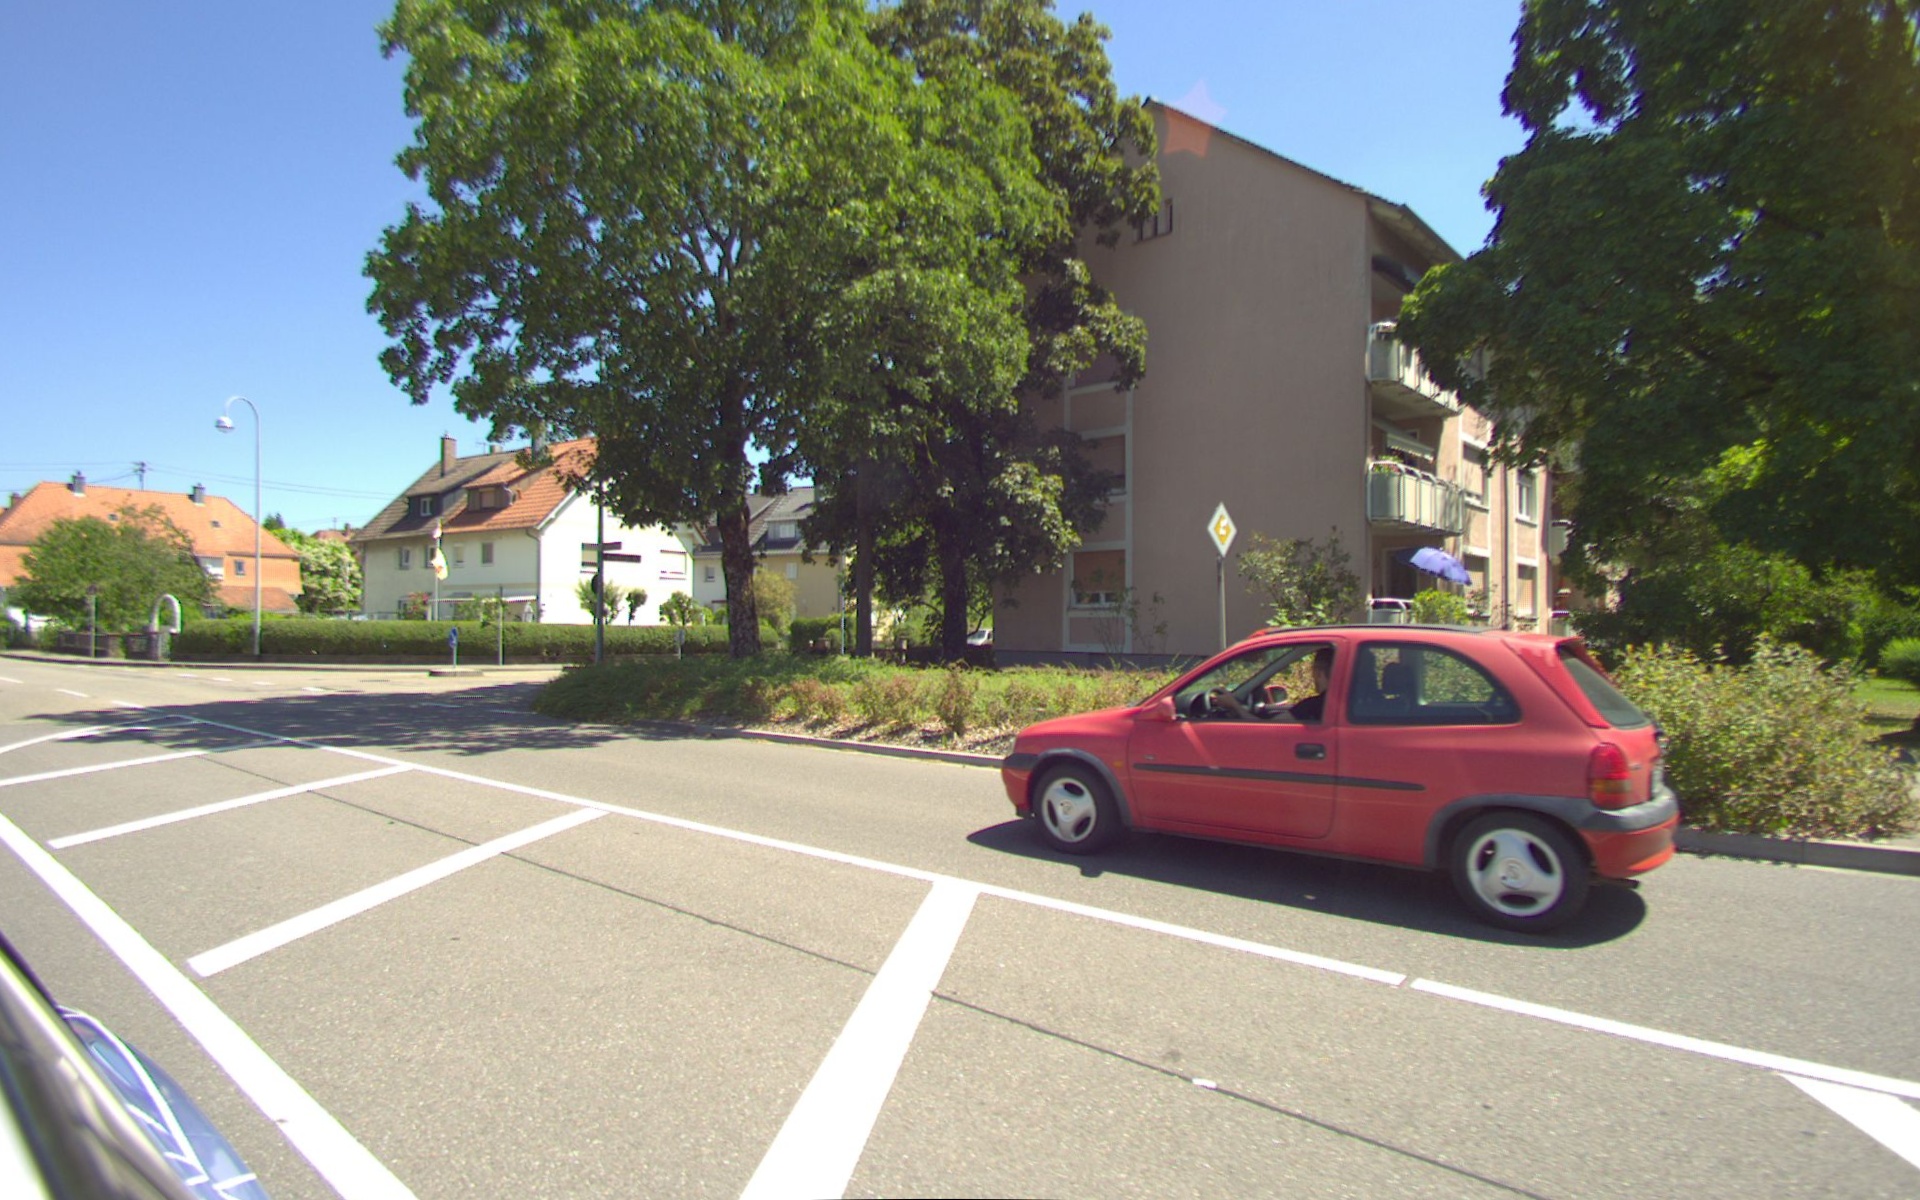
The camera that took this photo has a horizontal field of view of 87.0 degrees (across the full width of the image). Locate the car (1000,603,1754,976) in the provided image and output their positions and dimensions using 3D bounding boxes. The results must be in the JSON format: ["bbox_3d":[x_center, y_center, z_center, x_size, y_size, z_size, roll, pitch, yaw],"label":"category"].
[{"bbox_3d":[2.155,0.783,5.790,3.688,1.461,1.534,-1,-1,40],"label":"car"}]
